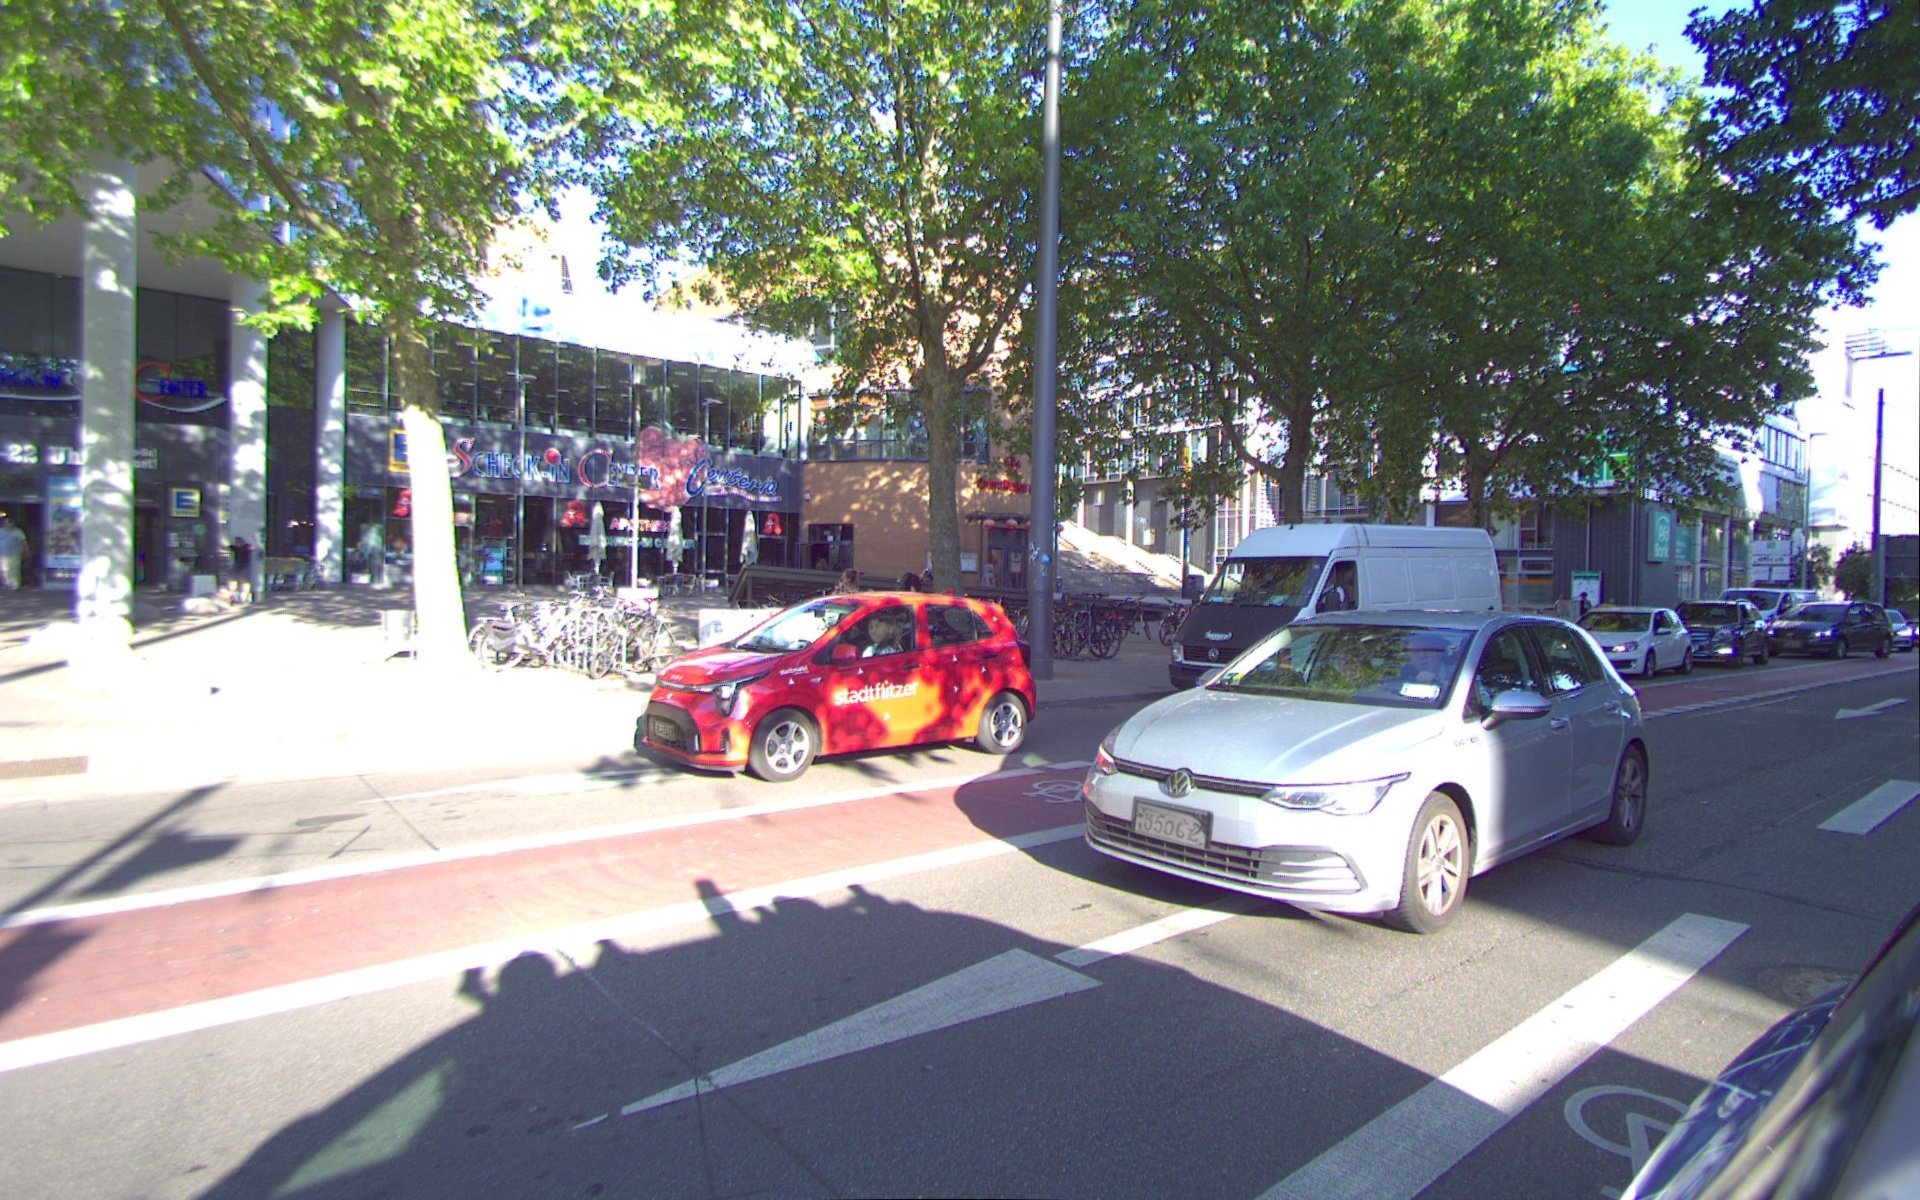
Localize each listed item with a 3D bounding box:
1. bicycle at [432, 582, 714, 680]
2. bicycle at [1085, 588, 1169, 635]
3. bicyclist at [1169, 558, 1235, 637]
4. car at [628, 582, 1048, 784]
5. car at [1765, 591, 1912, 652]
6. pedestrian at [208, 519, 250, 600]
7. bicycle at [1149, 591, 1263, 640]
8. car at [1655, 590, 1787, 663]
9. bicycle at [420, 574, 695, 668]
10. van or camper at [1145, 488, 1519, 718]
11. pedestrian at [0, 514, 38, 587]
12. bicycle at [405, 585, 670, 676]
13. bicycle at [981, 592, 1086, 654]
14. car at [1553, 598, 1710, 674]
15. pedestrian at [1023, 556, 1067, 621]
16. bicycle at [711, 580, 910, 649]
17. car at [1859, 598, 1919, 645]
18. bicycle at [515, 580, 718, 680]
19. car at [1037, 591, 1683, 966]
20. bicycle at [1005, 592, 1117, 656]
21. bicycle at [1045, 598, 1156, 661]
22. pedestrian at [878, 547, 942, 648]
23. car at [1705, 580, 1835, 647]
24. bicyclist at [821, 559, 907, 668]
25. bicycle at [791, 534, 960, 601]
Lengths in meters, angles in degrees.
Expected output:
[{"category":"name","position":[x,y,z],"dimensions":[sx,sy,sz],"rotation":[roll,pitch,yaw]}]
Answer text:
[{"category":"bicycle","position":[-5.514,0.389,14.701],"dimensions":[3.744,1.236,0.758],"rotation":[-2,1,-35]},{"category":"bicycle","position":[4.503,0.282,27.122],"dimensions":[2.653,1.215,0.698],"rotation":[-1,1,-41]},{"category":"bicyclist","position":[6.396,-0.082,26.754],"dimensions":[1.132,2.039,1.301],"rotation":[0,1,-24]},{"category":"car","position":[-0.982,0.598,9.123],"dimensions":[3.533,1.478,1.493],"rotation":[0,0,-41]},{"category":"car","position":[25.184,0.575,28.994],"dimensions":[4.300,1.656,1.714],"rotation":[0,0,-27]},{"category":"pedestrian","position":[-18.842,-1.035,26.111],"dimensions":[0.843,2.039,1.024],"rotation":[0,0,-34]},{"category":"bicycle","position":[6.424,0.362,26.708],"dimensions":[1.124,1.097,3.342],"rotation":[0,2,-23]},{"category":"car","position":[18.950,0.589,25.146],"dimensions":[4.175,1.656,1.768],"rotation":[0,0,-41]},{"category":"bicycle","position":[-5.974,0.359,15.281],"dimensions":[3.743,1.236,0.729],"rotation":[4,-2,-35]},{"category":"van or camper","position":[5.546,0.006,14.481],"dimensions":[6.380,2.647,2.005],"rotation":[0,1,-39]},{"category":"pedestrian","position":[-25.393,-1.325,26.977],"dimensions":[0.857,1.912,0.813],"rotation":[1,2,2]},{"category":"bicycle","position":[-6.508,0.420,15.849],"dimensions":[3.746,1.236,0.793],"rotation":[-2,1,-37]},{"category":"bicycle","position":[1.509,0.437,20.454],"dimensions":[2.263,1.177,0.671],"rotation":[-1,0,-38]},{"category":"car","position":[14.134,0.692,21.231],"dimensions":[3.914,1.446,1.639],"rotation":[0,0,-38]},{"category":"pedestrian","position":[2.698,-0.361,32.288],"dimensions":[0.995,2.039,1.015],"rotation":[0,0,-29]},{"category":"bicycle","position":[-2.538,0.206,17.600],"dimensions":[3.352,1.013,1.051],"rotation":[-1,6,-41]},{"category":"car","position":[32.432,0.700,34.998],"dimensions":[1.831,1.508,4.128],"rotation":[1,1,44]},{"category":"bicycle","position":[-4.667,0.364,13.871],"dimensions":[2.504,1.236,0.758],"rotation":[-2,1,-35]},{"category":"car","position":[2.480,0.709,5.825],"dimensions":[3.927,1.436,1.752],"rotation":[1,0,-39]},{"category":"bicycle","position":[1.999,0.444,19.834],"dimensions":[2.355,1.177,0.750],"rotation":[-1,0,-40]},{"category":"bicycle","position":[2.656,0.520,18.974],"dimensions":[2.295,1.073,0.682],"rotation":[-1,1,-39]},{"category":"pedestrian","position":[-1.030,-0.068,21.129],"dimensions":[0.922,2.039,1.085],"rotation":[2,1,24]},{"category":"car","position":[26.112,0.377,32.537],"dimensions":[5.809,1.989,1.933],"rotation":[0,0,-38]},{"category":"bicyclist","position":[-1.504,0.196,15.812],"dimensions":[1.005,1.641,0.902],"rotation":[0,0,-41]},{"category":"bicycle","position":[-1.274,-0.484,15.771],"dimensions":[2.591,0.960,0.924],"rotation":[-1,0,-41]}]
